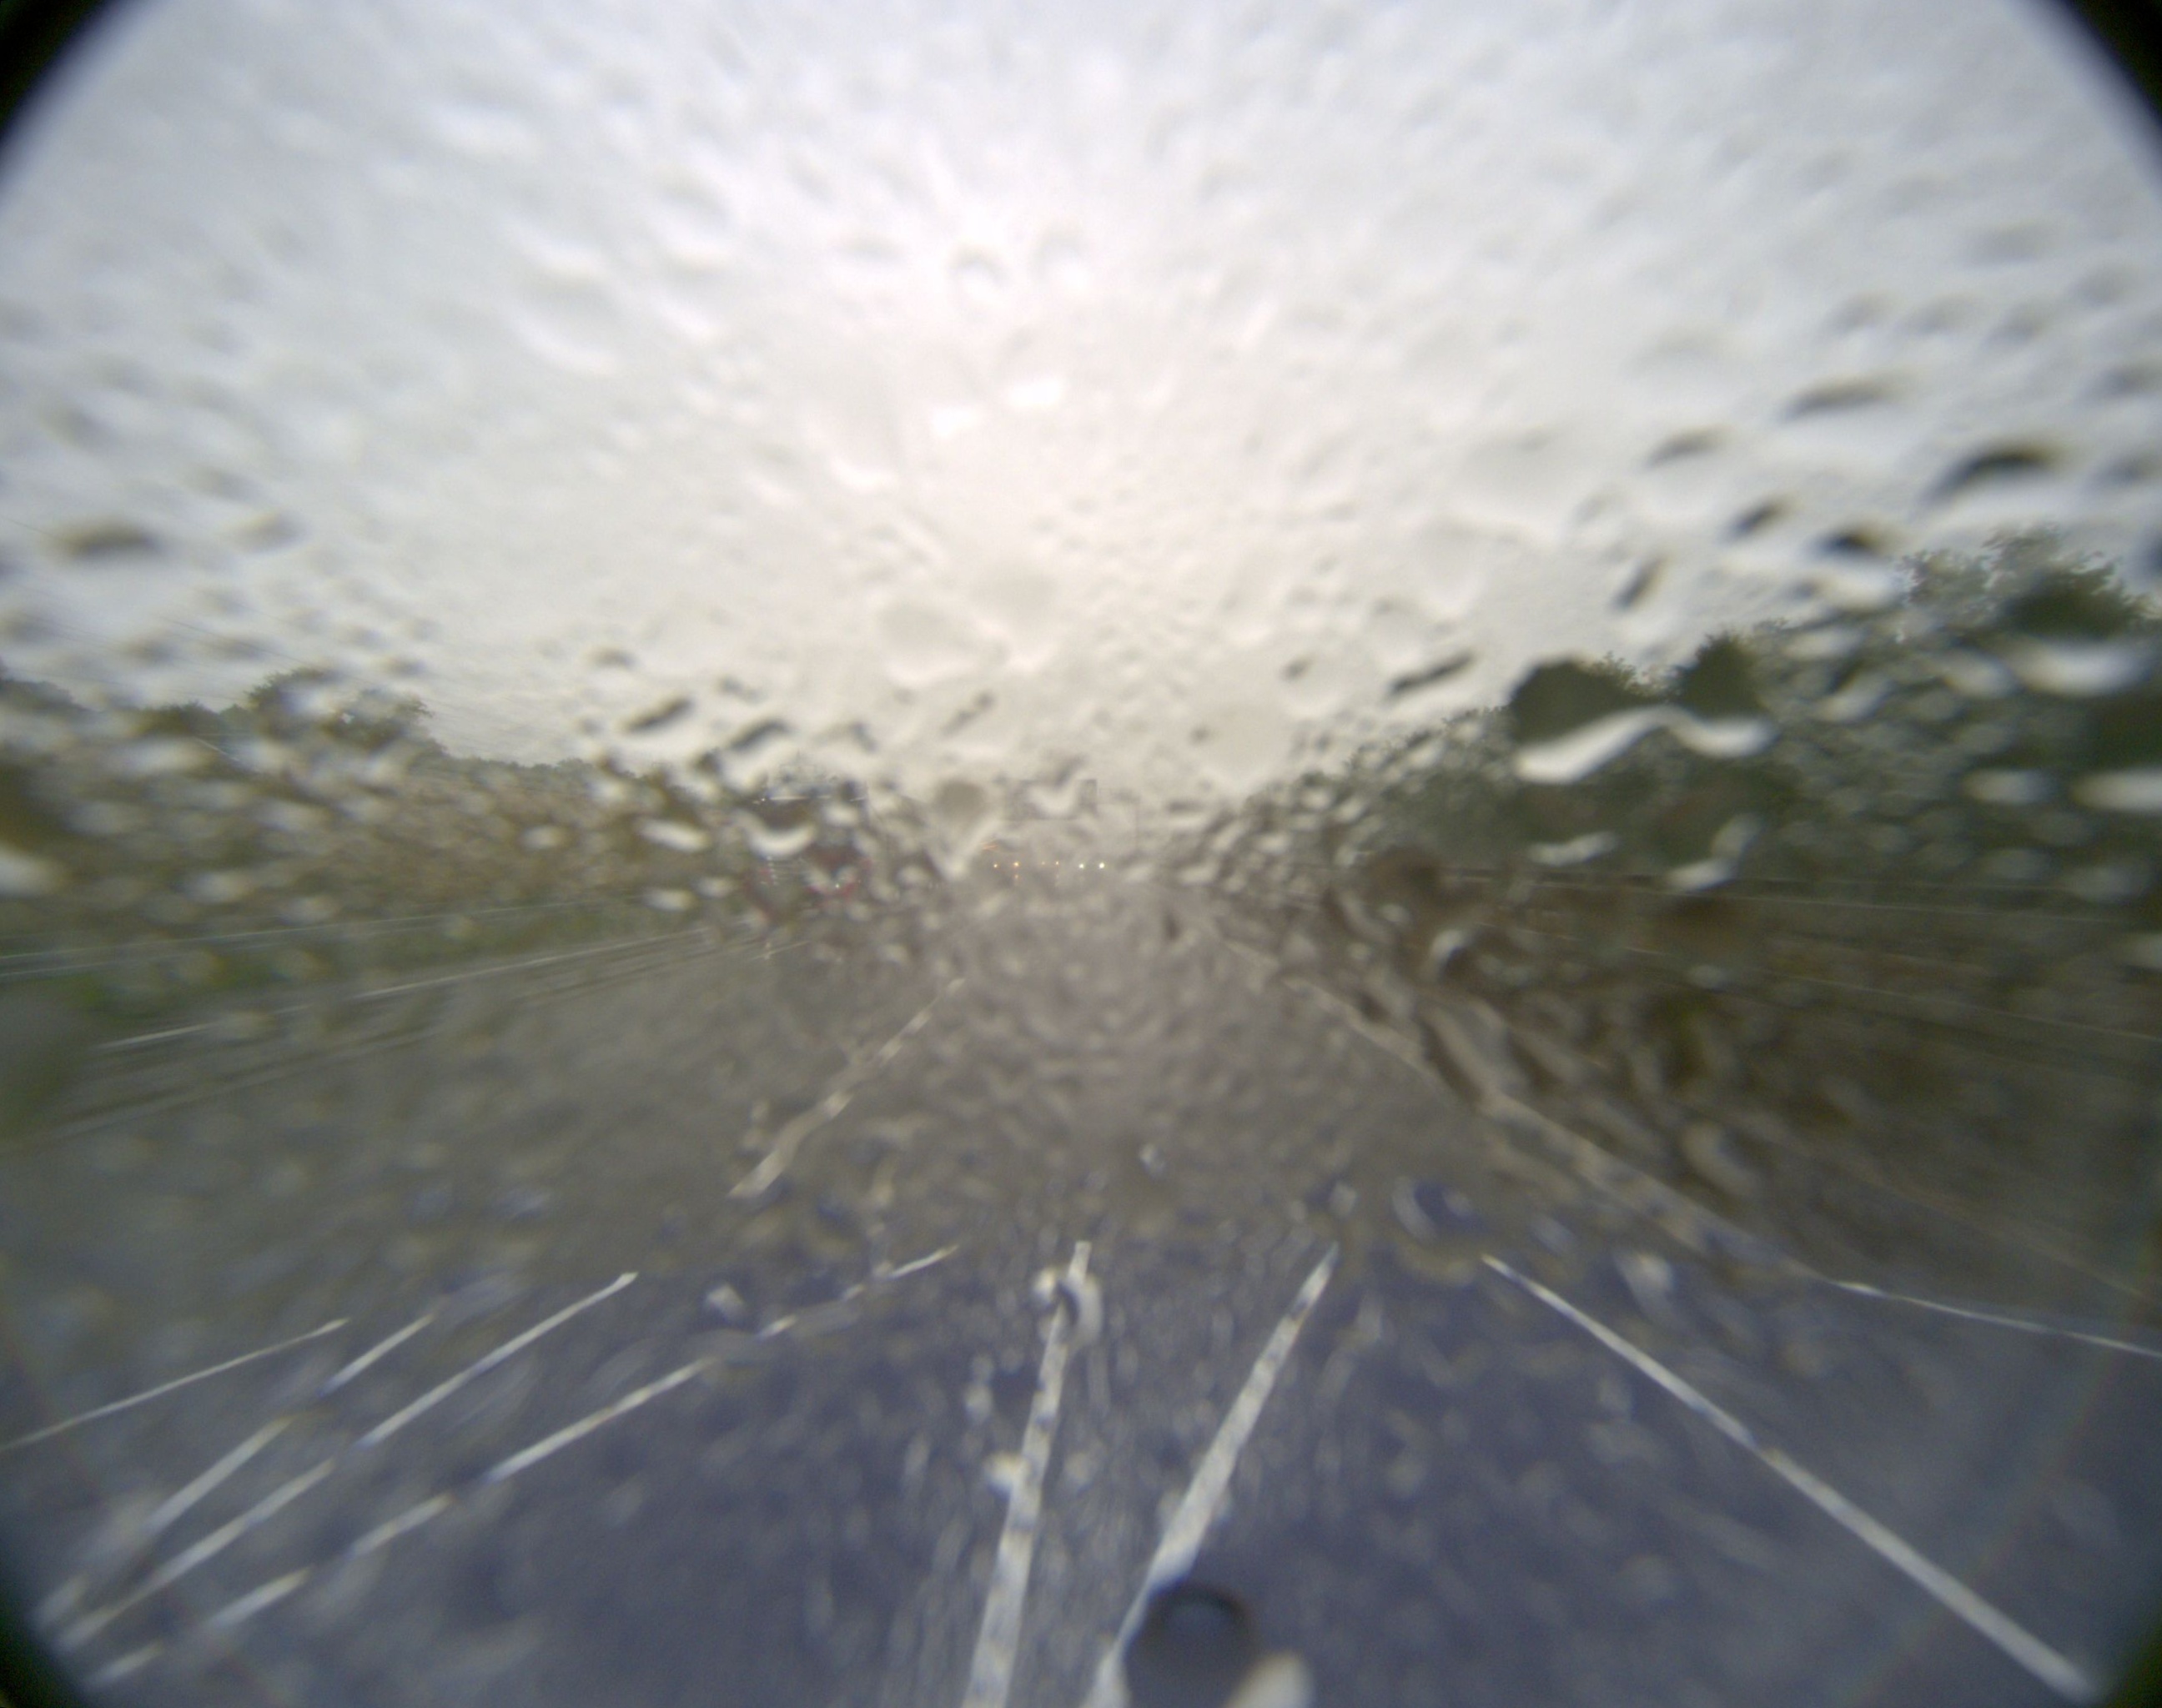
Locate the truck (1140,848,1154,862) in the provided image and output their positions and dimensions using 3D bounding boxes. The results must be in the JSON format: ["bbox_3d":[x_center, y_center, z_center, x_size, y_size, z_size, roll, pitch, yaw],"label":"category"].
[{"bbox_3d":[23.008,0.523,265.581,2.973,4.647,17.100,-2,-1,0],"label":"truck"}]

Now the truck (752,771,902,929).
[{"bbox_3d":[-7.075,-0.074,21.926,2.503,3.960,5.076,-2,0,0],"label":"truck"}]

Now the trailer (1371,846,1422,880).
[{"bbox_3d":[19.481,0.558,47.093,1.418,2.001,4.019,-2,-1,0],"label":"trailer"}]

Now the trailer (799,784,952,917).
[{"bbox_3d":[-7.039,-0.044,28.101,2.503,3.859,11.067,-2,-1,0],"label":"trailer"}]

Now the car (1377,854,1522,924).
[{"bbox_3d":[11.467,0.994,24.123,1.999,1.849,5.074,-2,1,-2],"label":"car"}]

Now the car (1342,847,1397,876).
[{"bbox_3d":[19.465,0.500,51.504,1.886,1.804,4.723,-2,0,0],"label":"car"}]

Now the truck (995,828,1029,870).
[{"bbox_3d":[-6.621,-0.414,73.482,2.457,3.866,6.200,-2,-1,1],"label":"truck"}]

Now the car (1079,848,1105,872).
[{"bbox_3d":[0.792,0.437,55.766,1.845,1.670,4.000,-2,-1,0],"label":"car"}]

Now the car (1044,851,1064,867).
[{"bbox_3d":[-2.571,0.503,73.952,1.663,1.491,3.837,-2,-1,1],"label":"car"}]

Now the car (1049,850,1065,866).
[{"bbox_3d":[-2.516,0.458,79.458,1.517,1.606,3.186,-2,-1,0],"label":"car"}]
